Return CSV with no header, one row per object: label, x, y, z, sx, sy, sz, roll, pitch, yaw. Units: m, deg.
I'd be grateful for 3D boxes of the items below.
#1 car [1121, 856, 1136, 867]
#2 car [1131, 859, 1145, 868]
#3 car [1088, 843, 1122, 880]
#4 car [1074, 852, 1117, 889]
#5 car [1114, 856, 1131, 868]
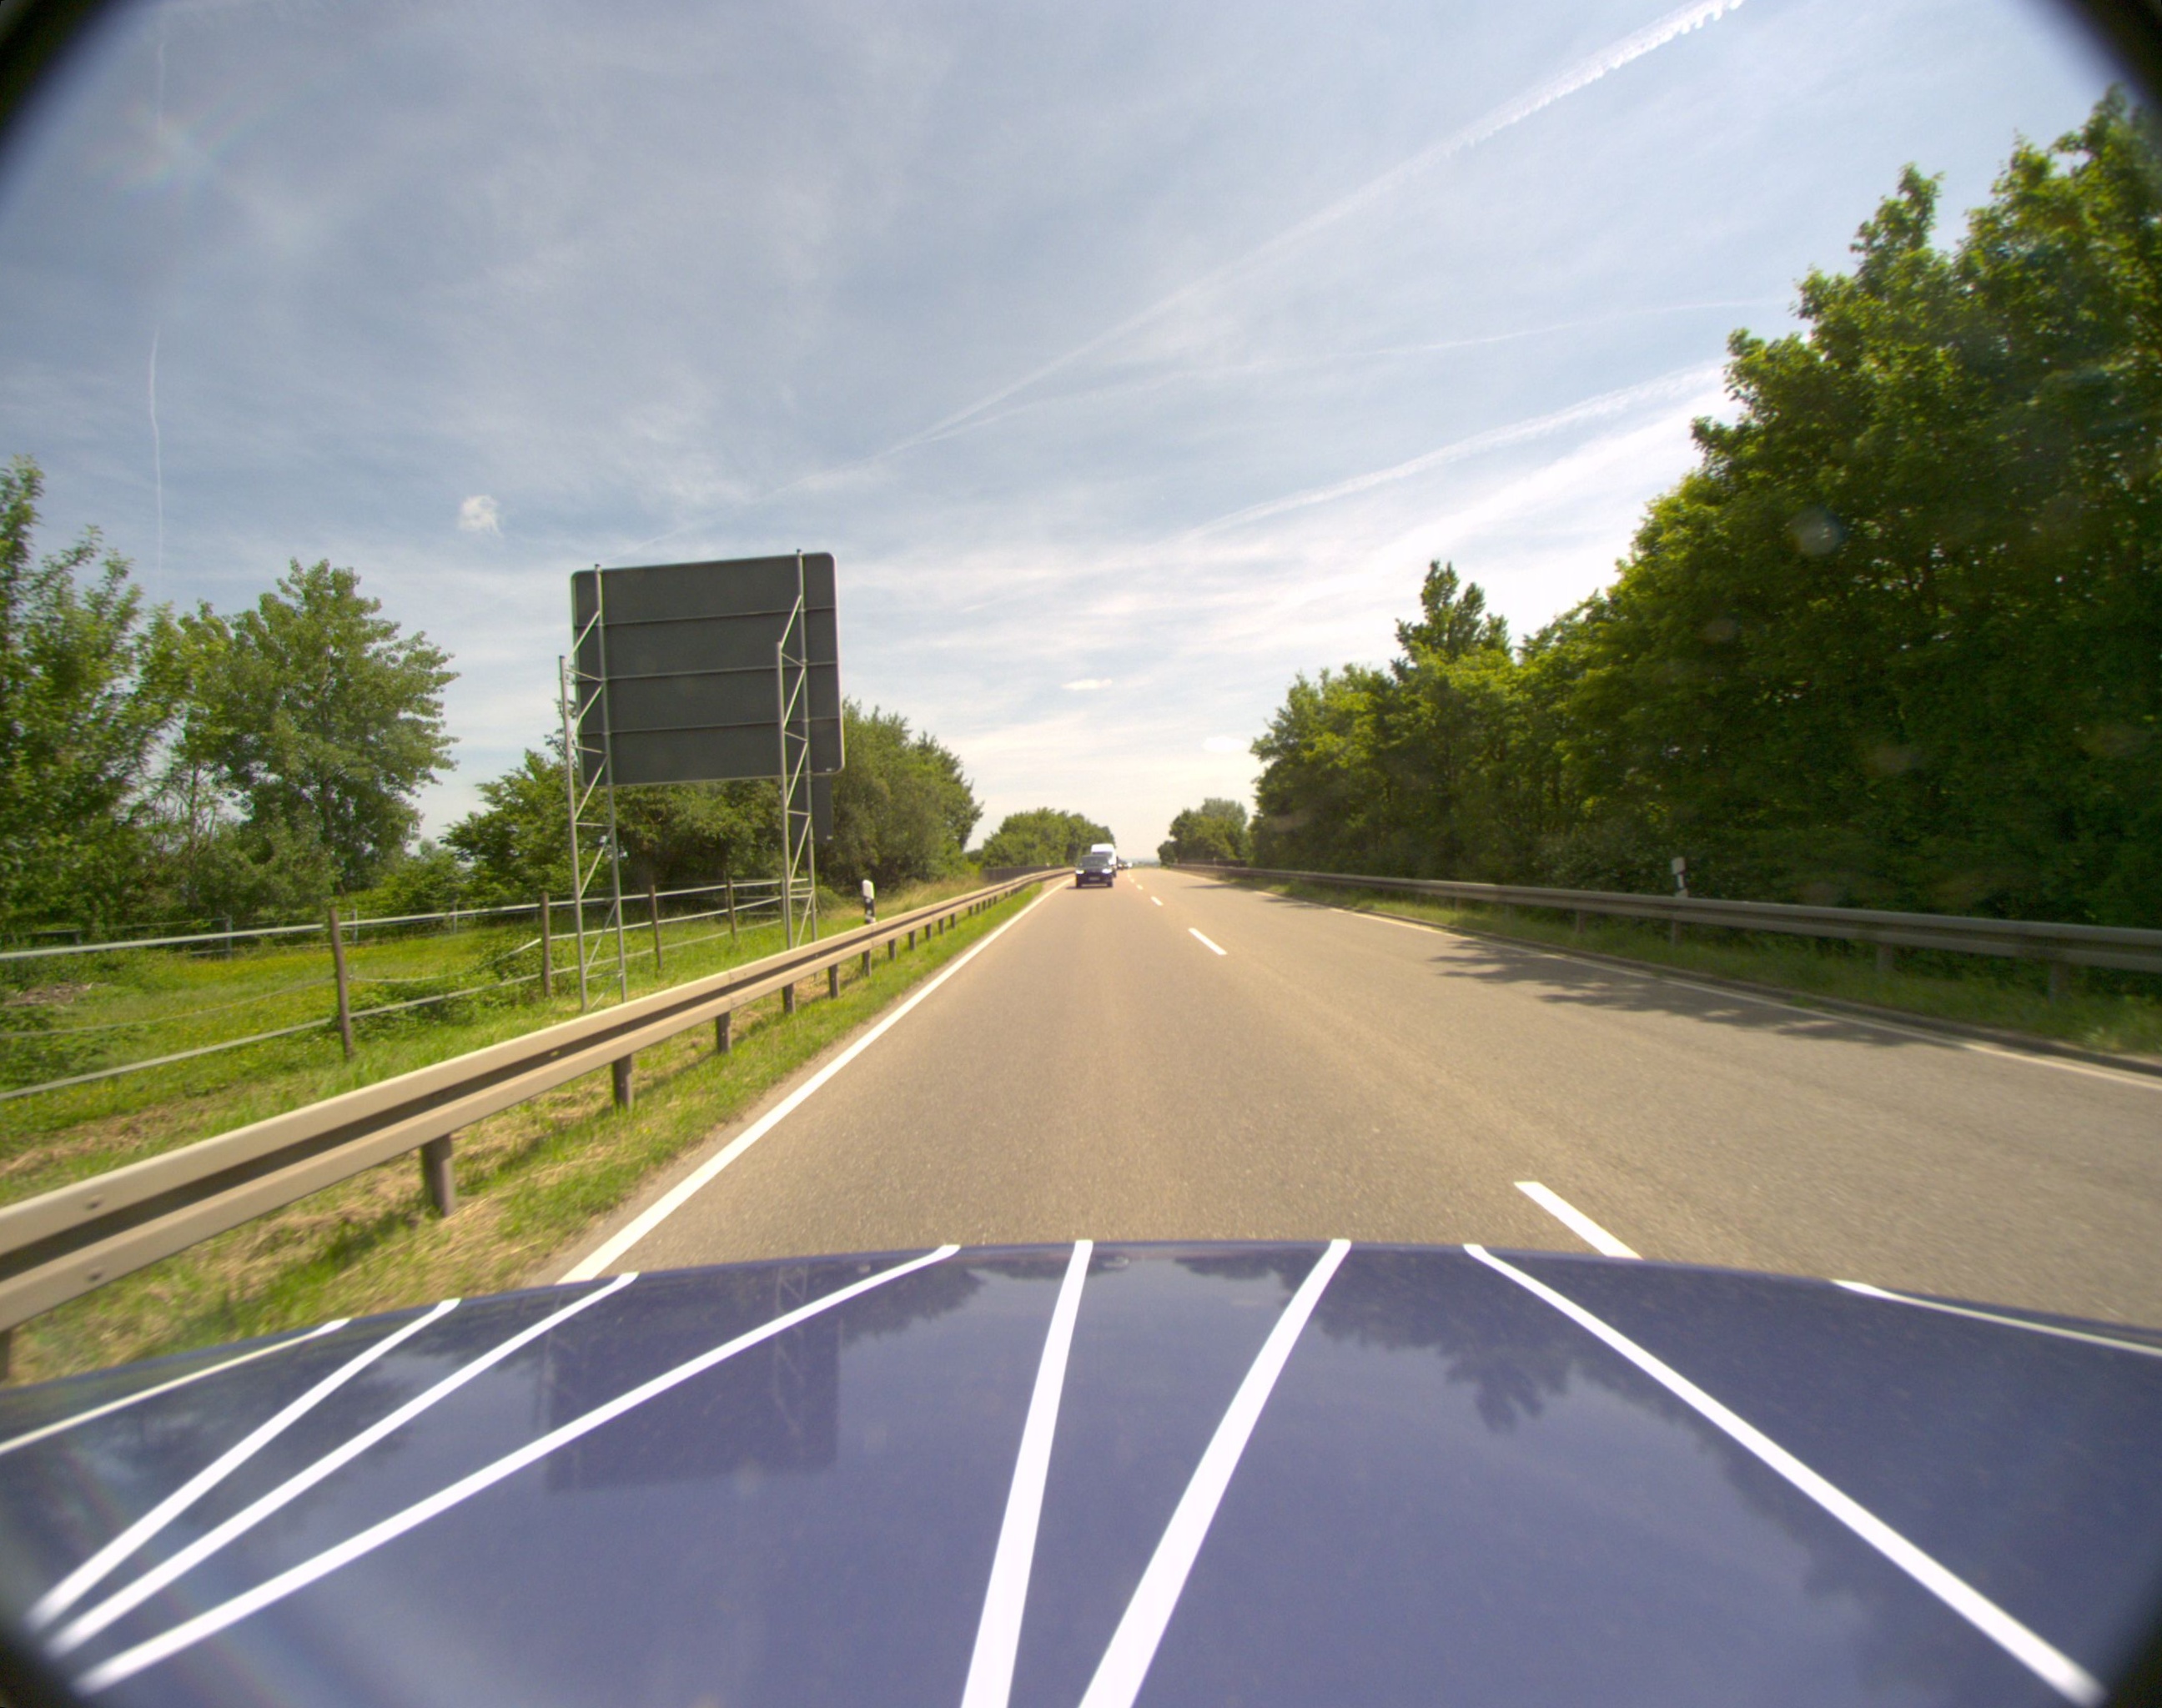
car,7.729,1.230,123.378,2.038,1.641,4.747,-2,-1,8
car,10.864,1.725,145.125,2.037,1.641,4.749,-2,-1,11
car,1.929,0.527,59.562,2.225,2.617,5.753,-3,1,5
car,0.839,0.788,39.758,2.039,1.691,5.513,-3,0,3
car,5.785,1.076,106.190,2.038,1.641,4.747,-2,-1,7
